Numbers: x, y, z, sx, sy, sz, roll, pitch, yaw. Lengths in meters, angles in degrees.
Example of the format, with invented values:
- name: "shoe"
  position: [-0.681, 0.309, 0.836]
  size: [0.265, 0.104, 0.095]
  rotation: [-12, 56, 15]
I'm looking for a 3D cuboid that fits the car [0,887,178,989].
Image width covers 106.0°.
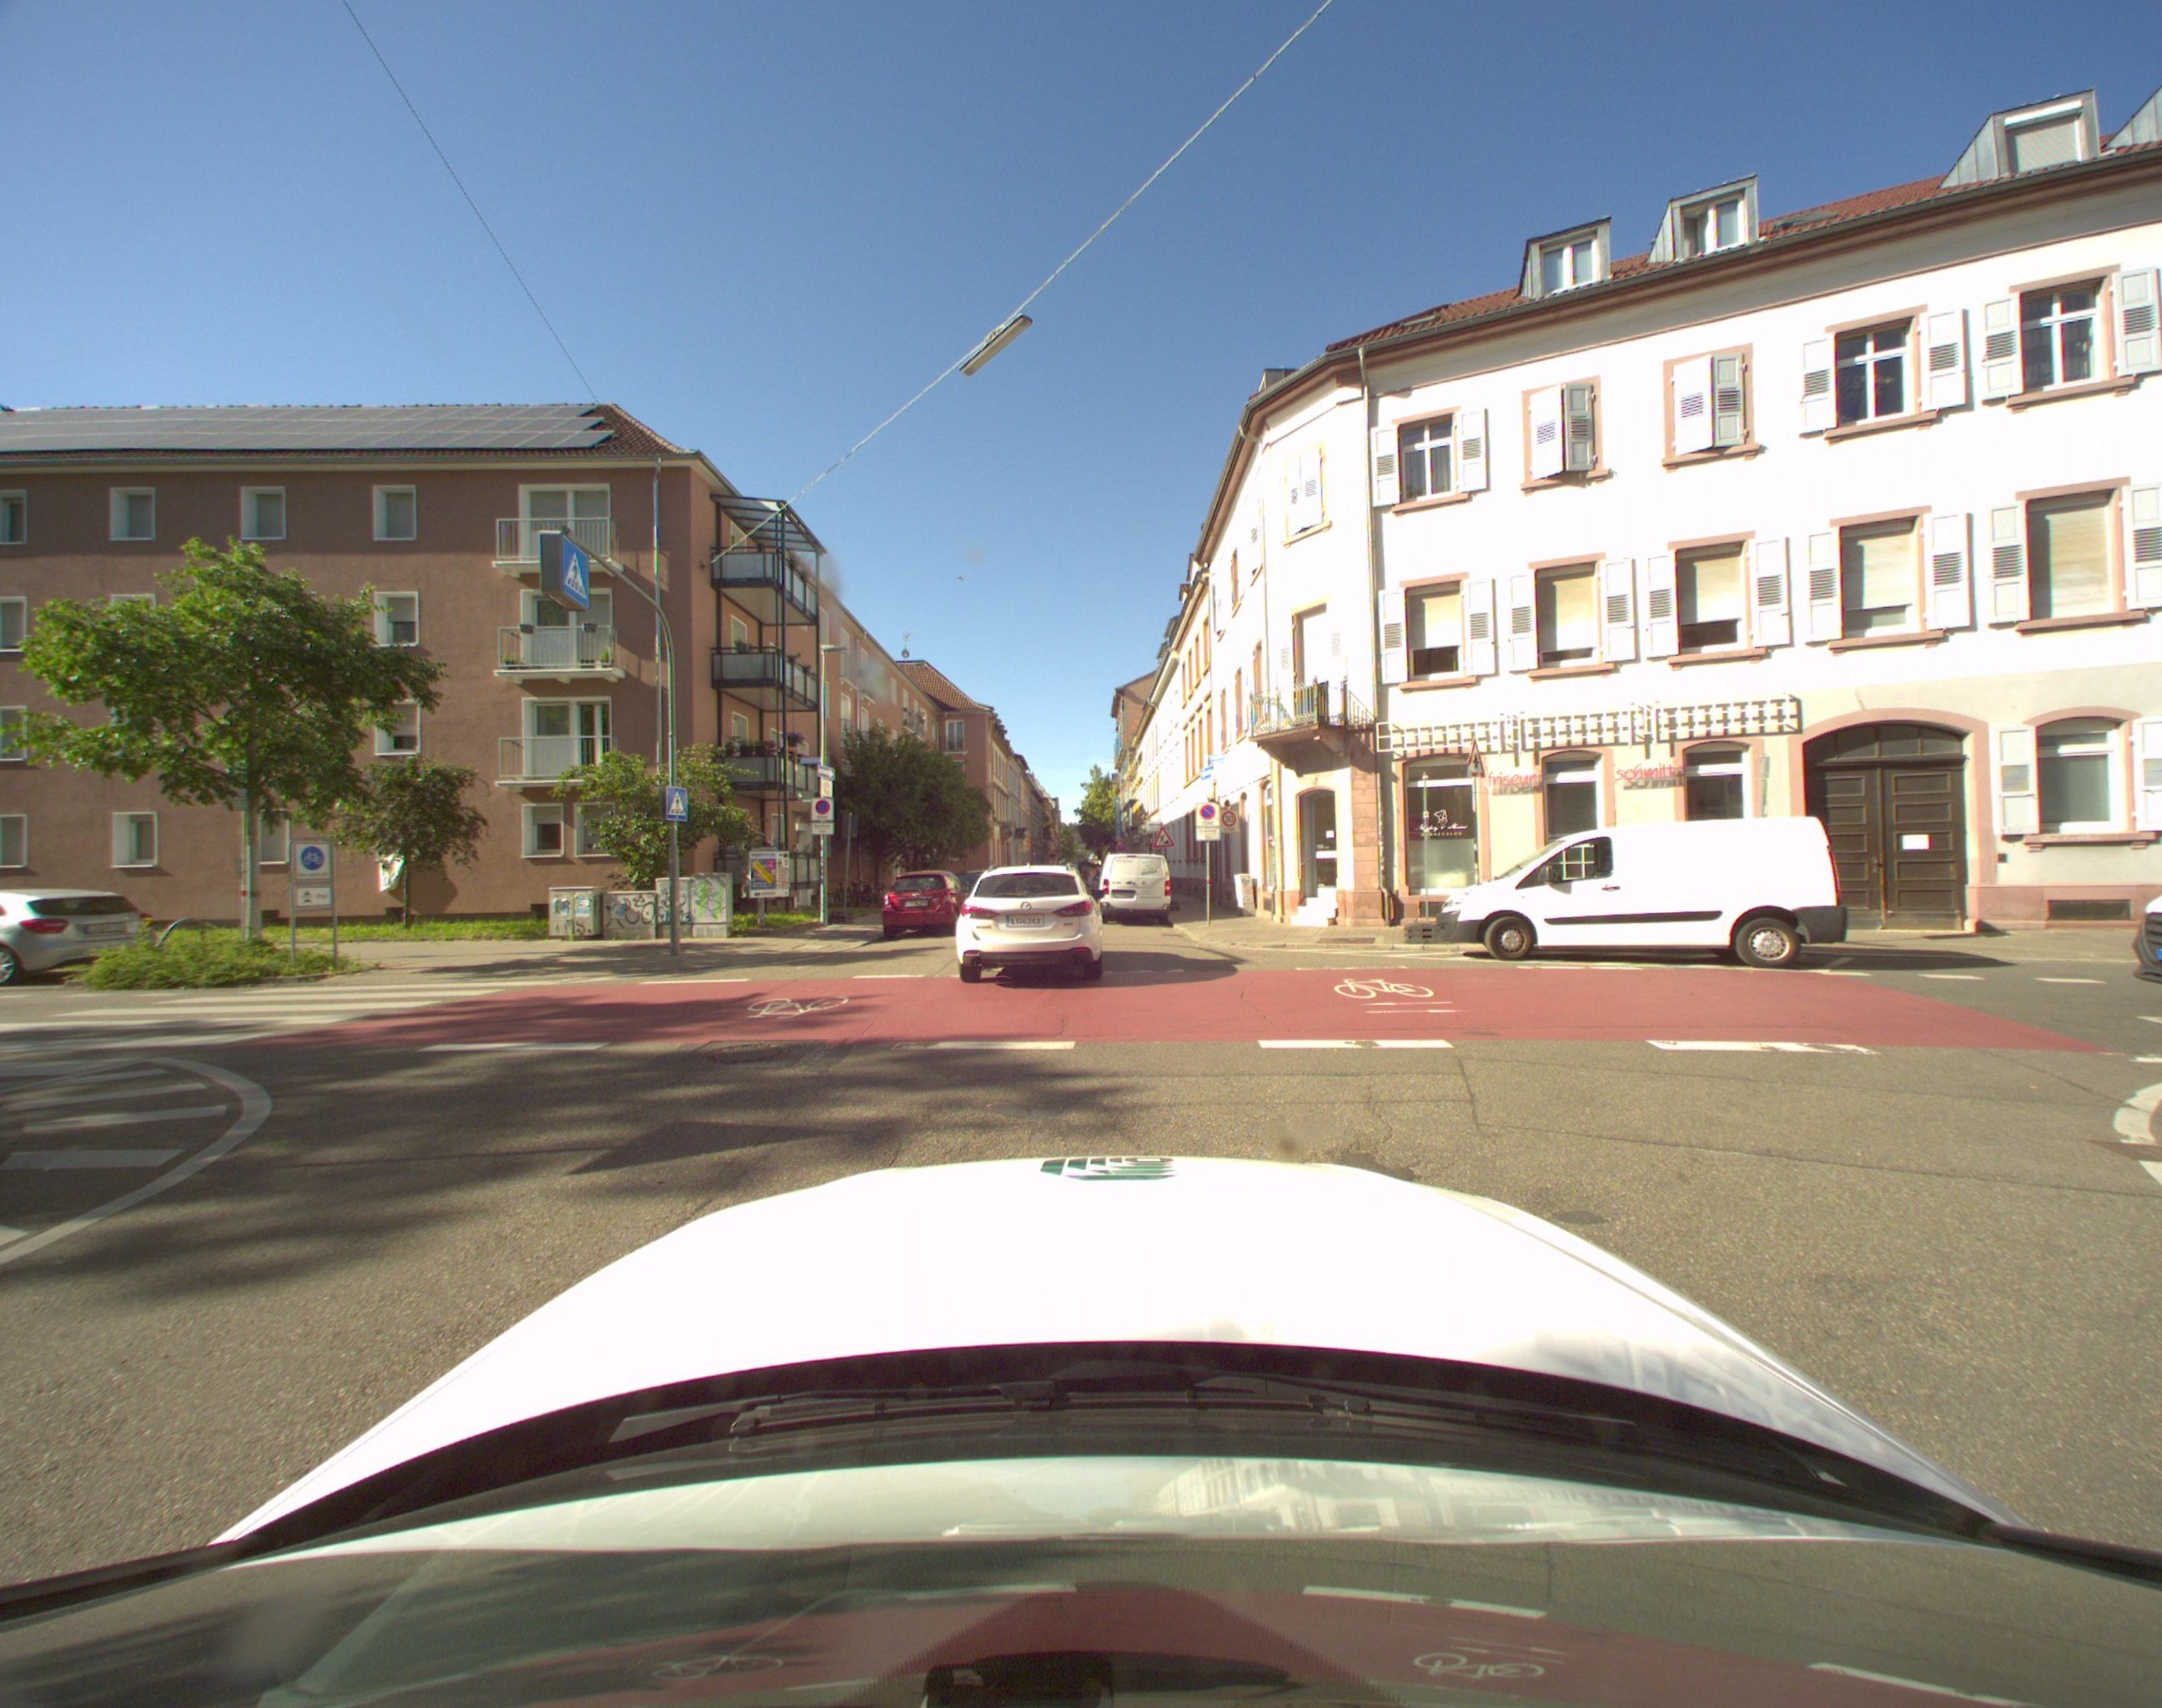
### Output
- name: "car"
  position: [-17.434, 1.322, 12.956]
  size: [4.129, 1.454, 1.745]
  rotation: [-1, -1, -1]

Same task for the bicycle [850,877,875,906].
- name: "bicycle"
  position: [-8.353, 1.430, 31.109]
  size: [1.201, 1.071, 0.255]
  rotation: [-2, -1, 40]

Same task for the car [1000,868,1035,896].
- name: "car"
  position: [-3.623, 1.594, 46.960]
  size: [1.647, 1.500, 3.763]
  rotation: [-1, -1, 1]

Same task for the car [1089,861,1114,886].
- name: "car"
  position: [1.614, 1.537, 64.876]
  size: [1.888, 1.859, 3.995]
  rotation: [-1, -1, 1]

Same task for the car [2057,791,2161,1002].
- name: "car"
  position: [12.345, 0.326, 6.602]
  size: [5.364, 1.908, 2.117]
  rotation: [-1, -1, 17]

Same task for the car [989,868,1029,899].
- name: "car"
  position: [-3.690, 1.504, 42.207]
  size: [1.647, 1.500, 3.763]
  rotation: [-1, -1, 1]

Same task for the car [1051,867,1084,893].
- name: "car"
  position: [-0.773, 1.520, 48.436]
  size: [1.754, 1.410, 4.328]
  rotation: [-1, -1, 1]

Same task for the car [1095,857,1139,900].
- name: "car"
  position: [1.606, 1.085, 37.426]
  size: [1.888, 1.859, 3.995]
  rotation: [-1, -1, 1]

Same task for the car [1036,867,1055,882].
- name: "car"
  position: [-3.583, 2.079, 83.113]
  size: [1.647, 1.500, 3.763]
  rotation: [-1, -1, 1]

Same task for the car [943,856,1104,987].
- name: "car"
  position: [-0.616, 0.836, 11.348]
  size: [1.824, 1.457, 3.962]
  rotation: [-1, -2, 1]

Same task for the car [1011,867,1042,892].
- name: "car"
  position: [-3.500, 1.640, 52.494]
  size: [1.647, 1.500, 3.763]
  rotation: [-1, -1, 1]

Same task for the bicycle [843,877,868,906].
- name: "bicycle"
  position: [-8.548, 1.423, 30.879]
  size: [1.201, 1.071, 0.255]
  rotation: [-2, -1, 40]

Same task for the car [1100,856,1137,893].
- name: "car"
  position: [1.958, 1.068, 43.440]
  size: [1.888, 1.859, 3.995]
  rotation: [-1, -1, 1]

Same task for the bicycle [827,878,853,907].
- name: "bicycle"
  position: [-8.995, 1.436, 30.369]
  size: [1.201, 1.035, 0.293]
  rotation: [-2, -1, 40]

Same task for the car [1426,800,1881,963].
- name: "car"
  position: [7.740, 0.397, 11.736]
  size: [4.963, 1.946, 2.062]
  rotation: [-2, -1, 25]

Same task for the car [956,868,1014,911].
- name: "car"
  position: [-3.610, 1.293, 31.139]
  size: [1.647, 1.500, 3.763]
  rotation: [-1, -1, 1]

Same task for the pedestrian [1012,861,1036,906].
- name: "pedestrian"
  position: [-2.131, 1.086, 30.396]
  size: [0.733, 1.614, 0.813]
  rotation: [-1, -1, -11]

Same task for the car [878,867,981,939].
- name: "car"
  position: [-3.591, 1.114, 19.933]
  size: [1.679, 1.500, 3.807]
  rotation: [-2, -1, 1]

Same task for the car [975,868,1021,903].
- name: "car"
  position: [-3.800, 1.407, 37.703]
  size: [1.647, 1.500, 3.763]
  rotation: [-1, -1, 1]

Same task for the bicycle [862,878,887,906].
- name: "bicycle"
  position: [-7.906, 1.445, 31.175]
  size: [1.204, 1.071, 0.255]
  rotation: [-2, -1, 40]

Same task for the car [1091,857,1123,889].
- name: "car"
  position: [1.725, 1.249, 54.352]
  size: [1.888, 1.859, 3.996]
  rotation: [-6, -1, 2]

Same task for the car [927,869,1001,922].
- name: "car"
  position: [-3.640, 1.264, 25.915]
  size: [1.647, 1.500, 4.080]
  rotation: [-1, -1, 1]

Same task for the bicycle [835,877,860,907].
- name: "bicycle"
  position: [-8.772, 1.424, 30.609]
  size: [1.201, 1.072, 0.268]
  rotation: [-2, -1, 40]

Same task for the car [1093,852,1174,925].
- name: "car"
  position: [1.383, 0.932, 23.518]
  size: [1.889, 1.859, 5.010]
  rotation: [1, -1, -1]
